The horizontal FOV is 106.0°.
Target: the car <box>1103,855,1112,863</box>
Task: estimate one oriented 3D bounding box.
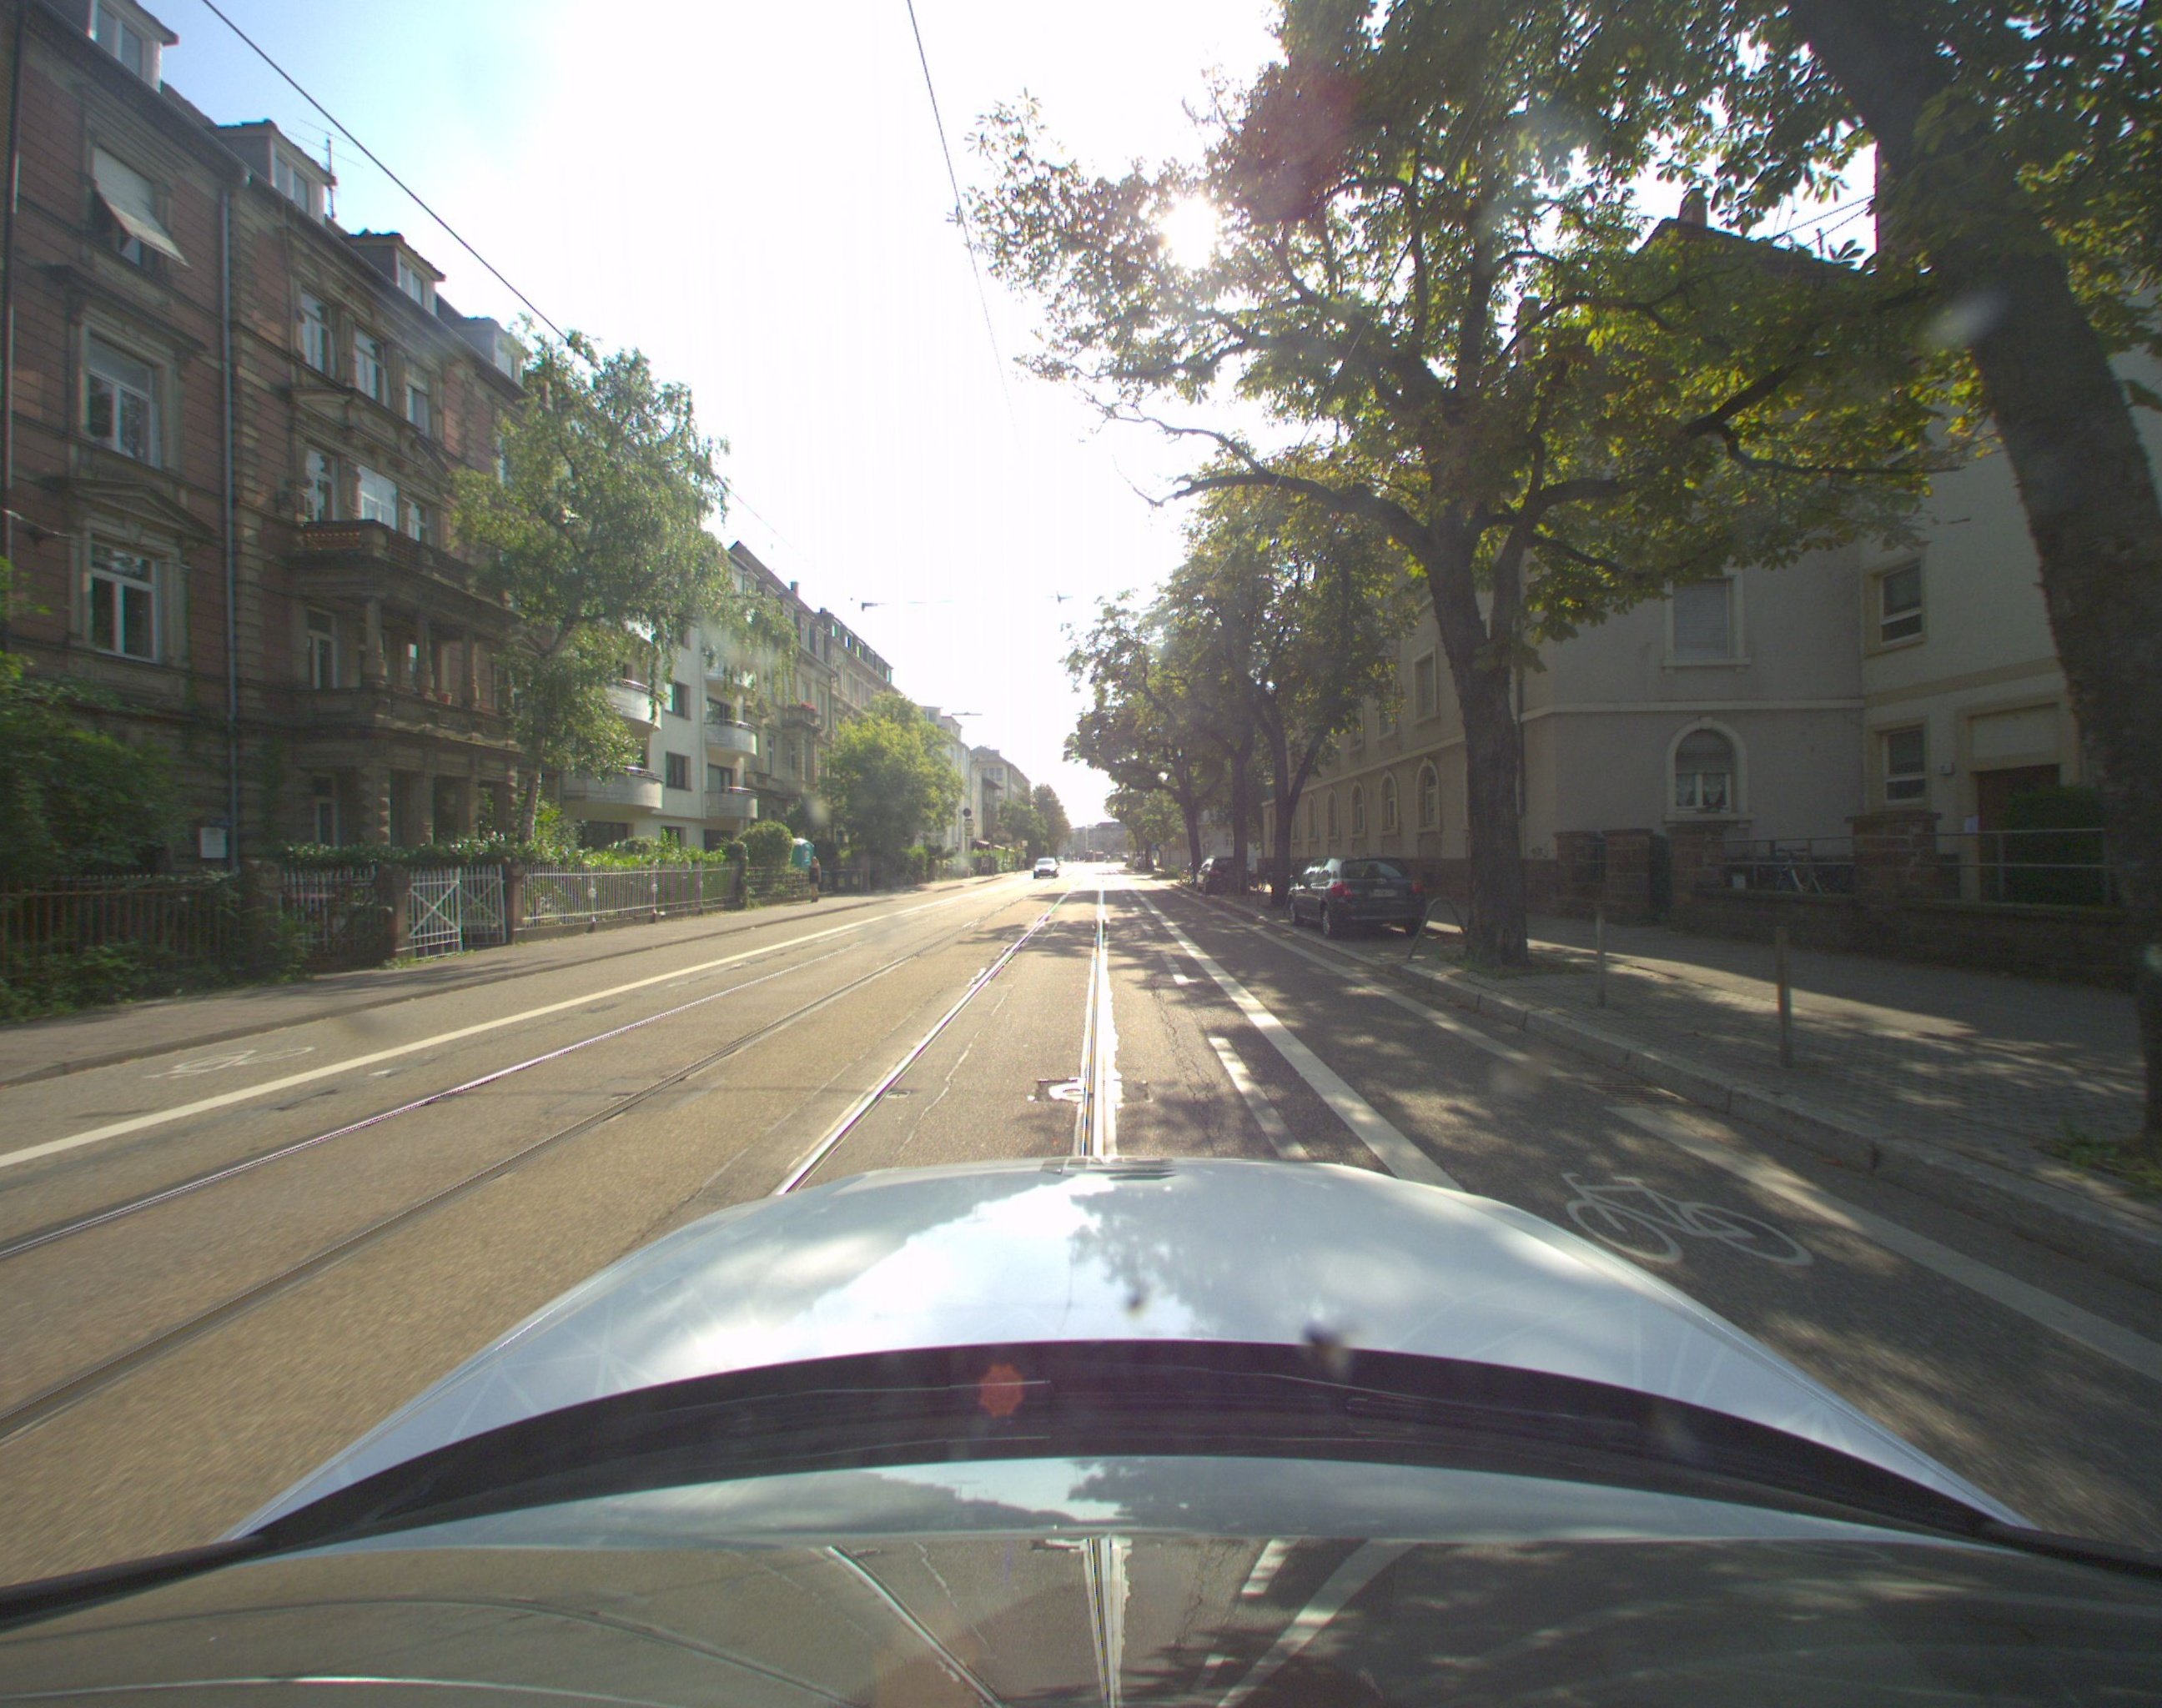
[{"bbox_3d":[6.746,1.214,209.071,1.984,2.014,4.005,1,0,5],"label":"car"}]

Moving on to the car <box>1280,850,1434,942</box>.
[{"bbox_3d":[5.280,0.747,16.144,1.720,1.504,3.985,-3,-1,1],"label":"car"}]

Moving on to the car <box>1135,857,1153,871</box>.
[{"bbox_3d":[6.961,1.129,90.518,1.765,1.473,3.975,-2,-1,2],"label":"car"}]

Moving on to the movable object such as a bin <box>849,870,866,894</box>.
[{"bbox_3d":[-10.372,1.286,37.805,0.630,1.078,0.703,-1,-1,-5],"label":"movable object such as a bin"}]

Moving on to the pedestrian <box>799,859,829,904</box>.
[{"bbox_3d":[-9.766,0.990,29.841,0.749,1.591,0.878,-1,-1,2],"label":"pedestrian"}]

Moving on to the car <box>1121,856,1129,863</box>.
[{"bbox_3d":[11.721,1.420,216.509,1.983,1.783,4.006,1,0,6],"label":"car"}]

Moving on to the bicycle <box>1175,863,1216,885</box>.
[{"bbox_3d":[6.128,1.073,43.643,2.100,1.105,0.616,-3,-1,0],"label":"bicycle"}]

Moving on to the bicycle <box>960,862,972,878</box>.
[{"bbox_3d":[-9.085,1.269,64.462,0.559,1.221,2.115,-1,0,3],"label":"bicycle"}]

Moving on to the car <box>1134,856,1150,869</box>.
[{"bbox_3d":[7.331,1.068,97.876,1.765,1.473,3.975,-2,-1,2],"label":"car"}]

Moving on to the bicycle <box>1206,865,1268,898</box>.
[{"bbox_3d":[5.654,0.991,29.511,2.104,1.105,0.562,-1,-1,-6],"label":"bicycle"}]

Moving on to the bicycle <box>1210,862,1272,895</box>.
[{"bbox_3d":[5.694,0.855,28.987,2.104,1.105,0.562,-1,-1,-6],"label":"bicycle"}]

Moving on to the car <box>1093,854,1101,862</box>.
[{"bbox_3d":[4.432,1.117,227.712,1.984,2.014,4.004,1,0,4],"label":"car"}]

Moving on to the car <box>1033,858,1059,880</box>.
[{"bbox_3d":[-2.746,1.124,64.028,1.720,1.638,3.985,-1,0,1],"label":"car"}]

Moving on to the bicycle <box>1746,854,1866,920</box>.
[{"bbox_3d":[13.014,0.561,14.693,0.535,1.104,1.874,-1,0,2],"label":"bicycle"}]

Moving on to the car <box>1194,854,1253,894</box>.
[{"bbox_3d":[5.742,0.810,33.169,1.765,1.473,3.975,-2,-1,2],"label":"car"}]

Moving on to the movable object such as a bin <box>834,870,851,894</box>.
[{"bbox_3d":[-11.041,1.280,37.743,0.589,1.078,0.703,-1,-1,-5],"label":"movable object such as a bin"}]
